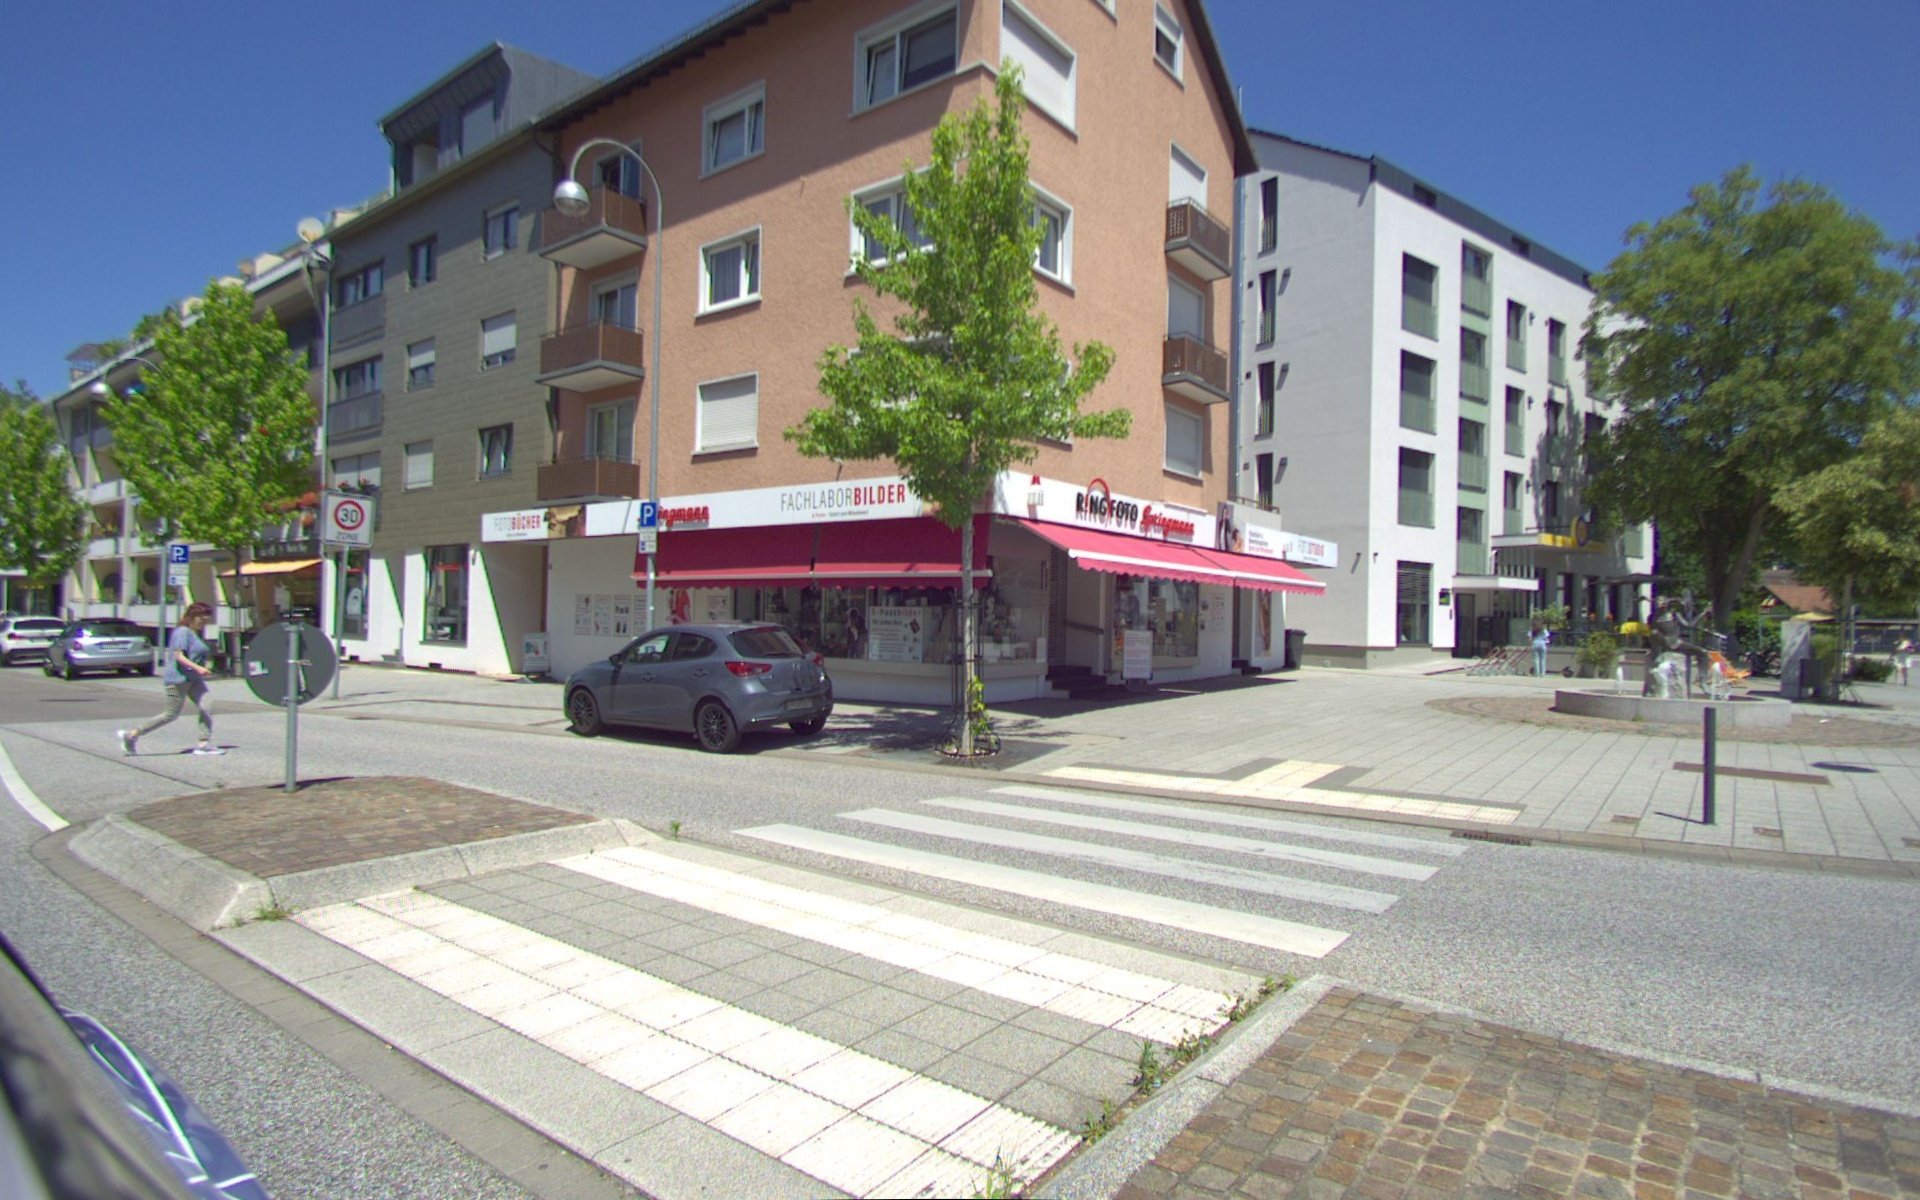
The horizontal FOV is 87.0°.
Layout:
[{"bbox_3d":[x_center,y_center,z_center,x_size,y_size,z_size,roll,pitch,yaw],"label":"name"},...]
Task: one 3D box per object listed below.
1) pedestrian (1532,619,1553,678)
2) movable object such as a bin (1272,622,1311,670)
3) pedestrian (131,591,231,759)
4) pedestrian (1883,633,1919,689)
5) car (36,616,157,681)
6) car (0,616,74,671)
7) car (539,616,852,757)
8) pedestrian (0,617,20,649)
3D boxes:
[{"bbox_3d":[16.478,1.363,28.629,0.449,1.631,0.445,-1,-2,36],"label":"pedestrian"},{"bbox_3d":[8.814,1.217,26.927,0.746,1.262,0.826,-1,-2,40],"label":"movable object such as a bin"},{"bbox_3d":[-7.871,0.741,10.225,0.723,1.622,0.560,2,-3,-41],"label":"pedestrian"},{"bbox_3d":[28.943,1.849,30.778,0.807,1.661,0.951,0,-2,-1],"label":"pedestrian"},{"bbox_3d":[-21.283,1.147,24.911,3.544,1.485,1.605,-1,-2,39],"label":"car"},{"bbox_3d":[-29.371,1.330,31.701,4.294,1.604,1.678,-1,-2,39],"label":"car"},{"bbox_3d":[-3.464,0.978,12.965,4.051,1.497,1.653,-1,1,35],"label":"car"},{"bbox_3d":[-45.481,1.570,48.351,0.767,1.510,0.698,2,-3,-40],"label":"pedestrian"}]
